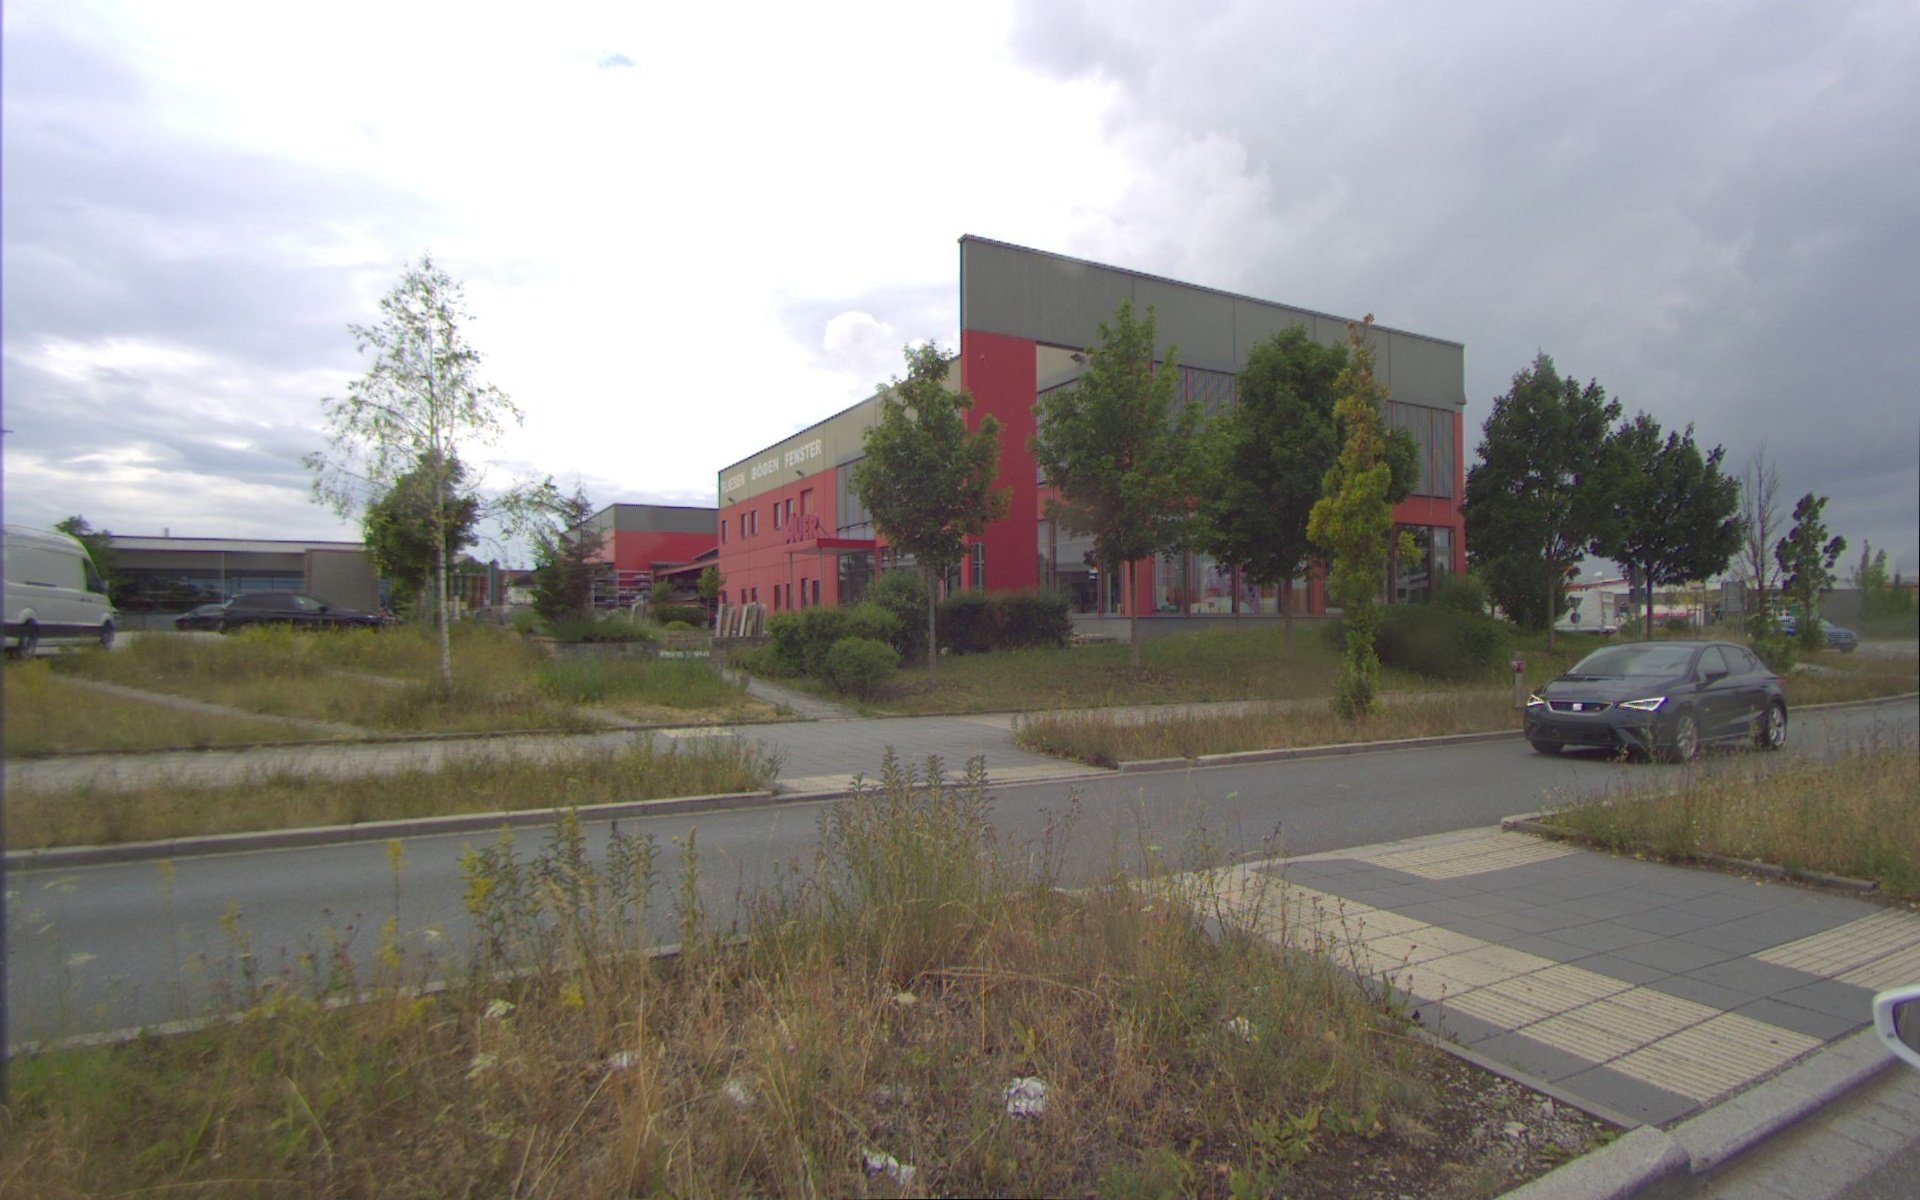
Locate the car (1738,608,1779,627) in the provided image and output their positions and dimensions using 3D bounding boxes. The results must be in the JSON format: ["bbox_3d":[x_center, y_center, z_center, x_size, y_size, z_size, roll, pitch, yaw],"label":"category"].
[{"bbox_3d":[80.801,1.792,101.615,3.953,1.884,1.984,1,-1,-30],"label":"car"}]

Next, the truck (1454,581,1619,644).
[{"bbox_3d":[38.815,0.903,67.951,3.121,3.958,9.219,1,-2,-42],"label":"truck"}]

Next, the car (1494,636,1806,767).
[{"bbox_3d":[8.919,1.208,12.940,3.954,1.425,1.832,1,-3,-31],"label":"car"}]

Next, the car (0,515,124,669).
[{"bbox_3d":[-18.651,-0.102,19.558,2.215,2.633,6.385,1,-1,-27],"label":"car"}]

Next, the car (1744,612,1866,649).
[{"bbox_3d":[36.945,1.379,44.073,1.810,1.548,4.231,0,-3,2],"label":"car"}]

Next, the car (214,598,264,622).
[{"bbox_3d":[-50.975,0.755,71.110,1.971,1.628,3.979,1,-1,-22],"label":"car"}]

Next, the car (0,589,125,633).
[{"bbox_3d":[-43.052,0.565,48.299,3.933,2.040,1.994,1,-1,-15],"label":"car"}]

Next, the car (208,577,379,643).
[{"bbox_3d":[-21.949,0.361,33.346,4.584,2.060,1.984,1,-2,-30],"label":"car"}]
